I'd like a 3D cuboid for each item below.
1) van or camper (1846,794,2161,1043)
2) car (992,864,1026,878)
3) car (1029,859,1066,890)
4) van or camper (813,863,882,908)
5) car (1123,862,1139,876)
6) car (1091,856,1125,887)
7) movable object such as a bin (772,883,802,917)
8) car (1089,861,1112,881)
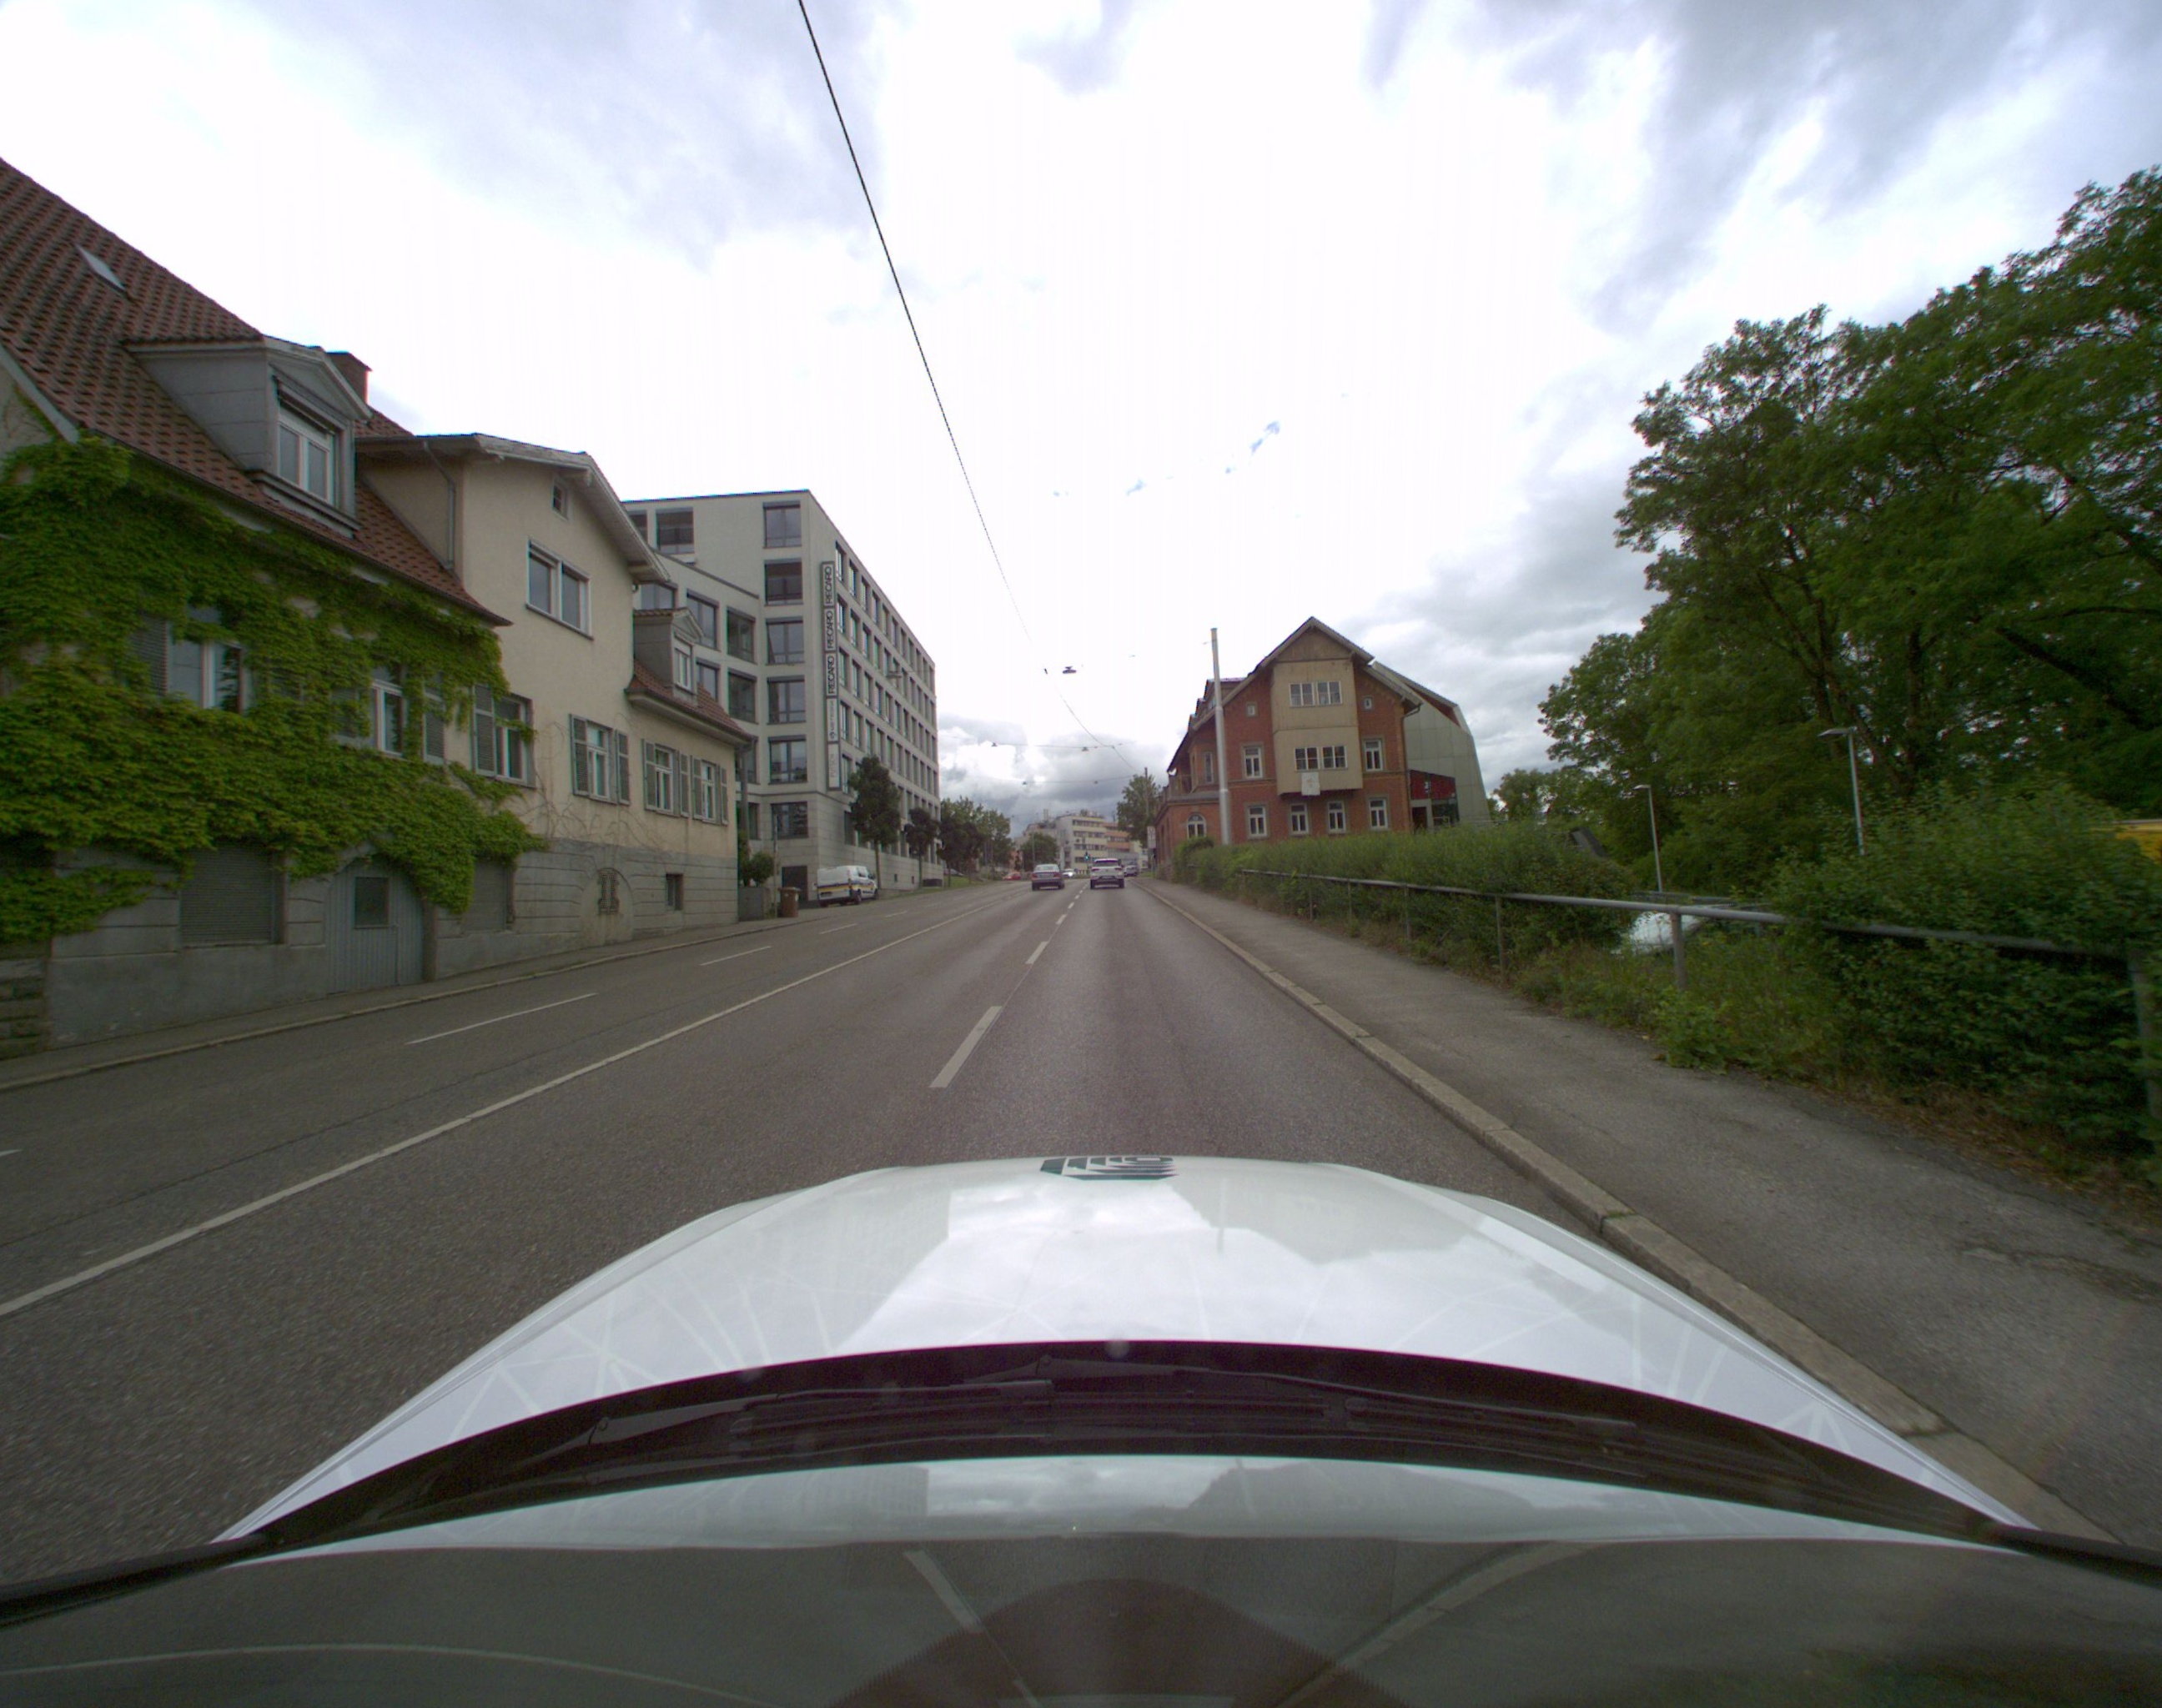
[{"bbox_3d":[11.452,0.549,8.390,2.201,2.329,6.200,-4,0,12],"label":"van or camper"},{"bbox_3d":[-9.130,2.150,103.479,4.023,1.544,1.759,-1,-2,-45],"label":"car"},{"bbox_3d":[-1.805,1.083,44.929,1.693,1.516,3.737,-3,0,1],"label":"car"},{"bbox_3d":[-11.972,1.577,42.053,2.054,1.968,4.870,-5,-1,-1],"label":"van or camper"},{"bbox_3d":[6.329,1.890,102.700,1.761,1.571,4.292,-3,-1,6],"label":"car"},{"bbox_3d":[1.421,0.903,43.161,1.693,1.548,3.737,0,0,1],"label":"car"},{"bbox_3d":[-10.456,1.639,29.008,0.808,1.189,0.697,1,-1,-5],"label":"movable object such as a bin"},{"bbox_3d":[1.588,1.414,65.580,1.693,1.516,3.495,-2,-2,3],"label":"car"}]
